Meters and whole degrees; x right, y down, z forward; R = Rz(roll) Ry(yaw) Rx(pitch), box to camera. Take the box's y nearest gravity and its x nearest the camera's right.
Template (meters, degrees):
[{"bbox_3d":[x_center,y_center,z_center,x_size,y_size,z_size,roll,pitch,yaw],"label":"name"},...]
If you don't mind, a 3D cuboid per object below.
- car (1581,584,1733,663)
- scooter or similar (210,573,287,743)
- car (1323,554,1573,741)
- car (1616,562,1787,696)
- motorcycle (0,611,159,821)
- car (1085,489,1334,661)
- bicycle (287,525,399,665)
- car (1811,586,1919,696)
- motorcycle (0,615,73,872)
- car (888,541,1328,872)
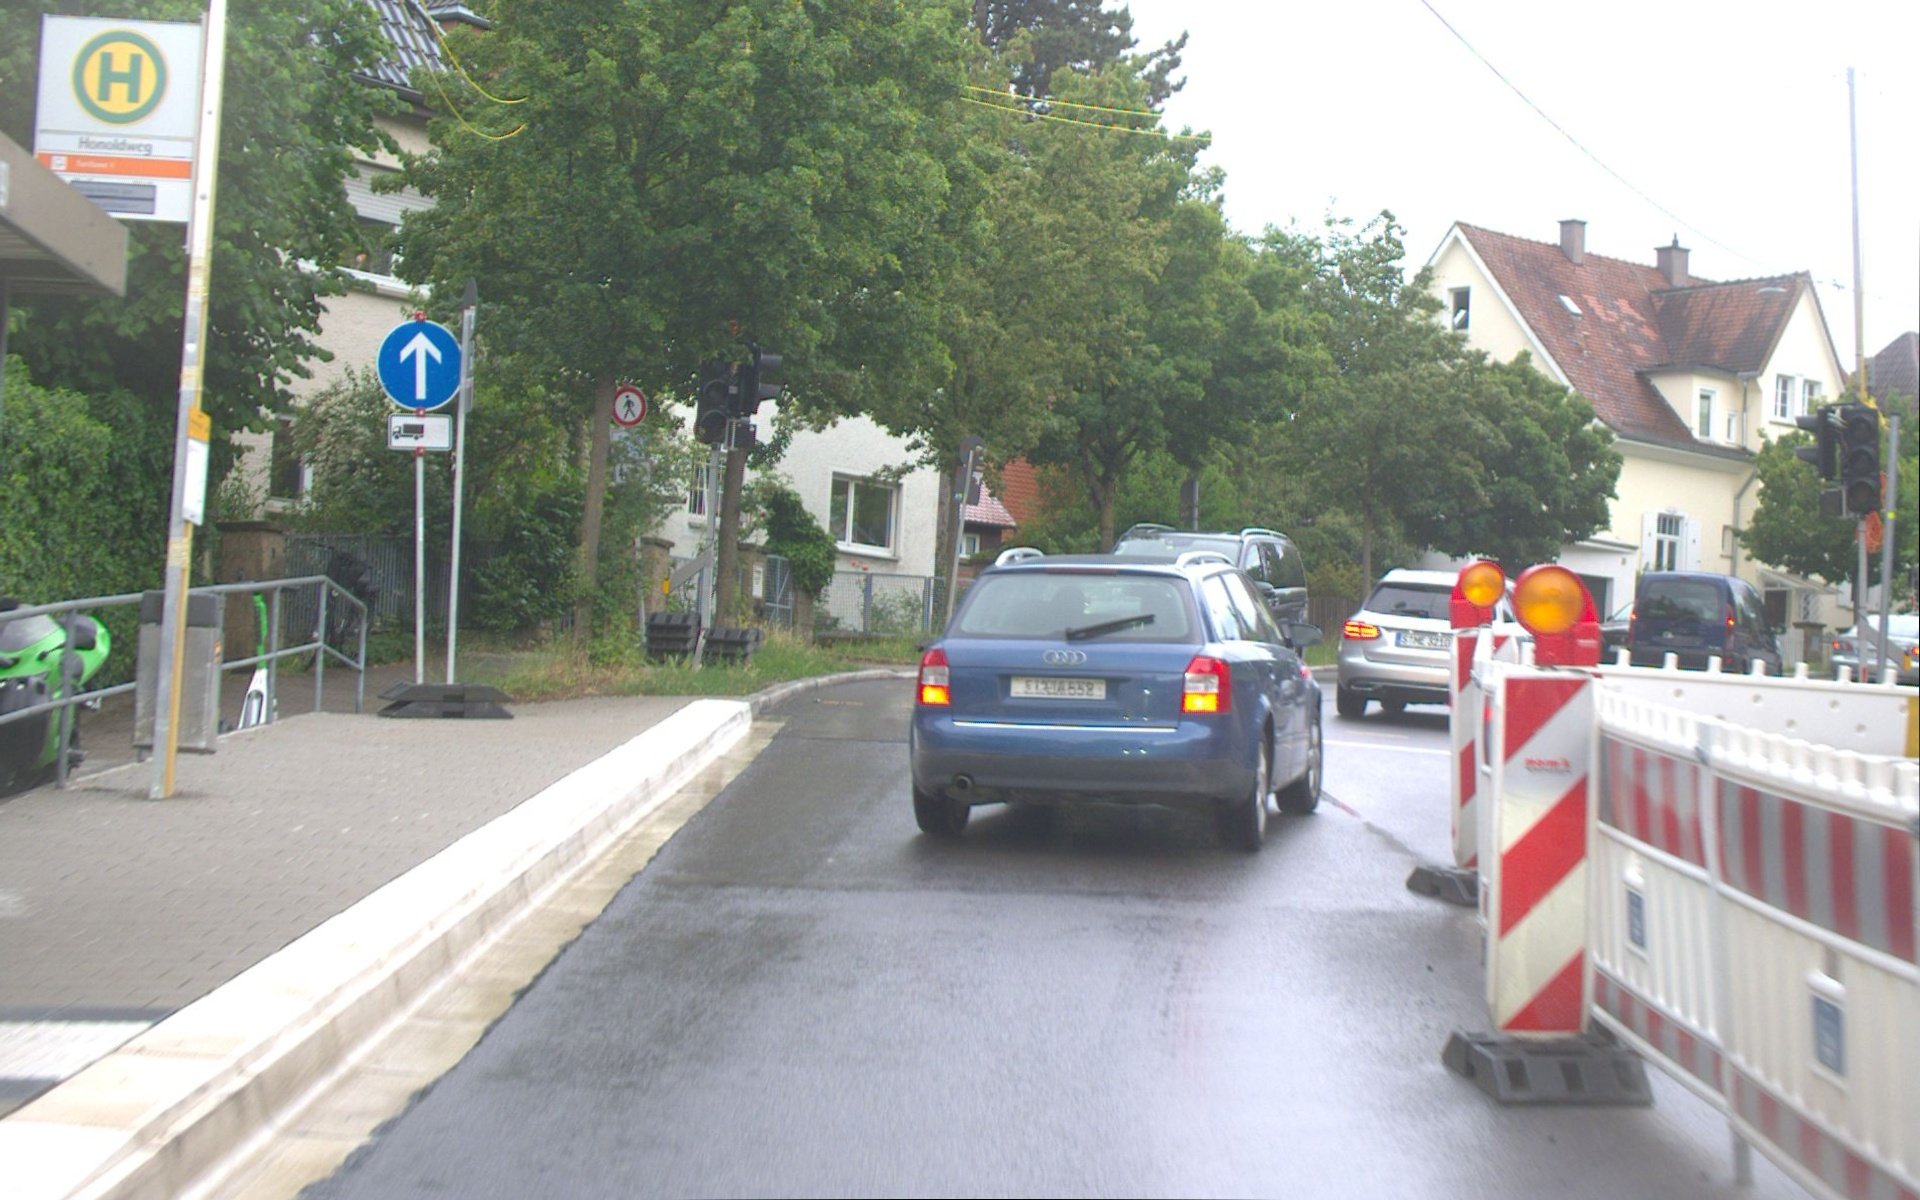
[{"bbox_3d":[13.637,0.476,67.124,1.673,1.461,3.887,1,0,31],"label":"car"},{"bbox_3d":[-4.668,0.368,22.593,0.323,1.077,1.096,1,1,-3],"label":"scooter or similar"},{"bbox_3d":[4.869,0.403,33.840,1.977,1.629,4.232,1,2,14],"label":"car"},{"bbox_3d":[10.839,0.379,50.073,1.735,1.762,4.230,1,2,22],"label":"car"},{"bbox_3d":[-4.551,0.555,17.328,0.666,0.930,2.010,1,1,-4],"label":"motorcycle"},{"bbox_3d":[3.044,-0.270,40.855,1.898,1.883,5.149,1,0,16],"label":"car"},{"bbox_3d":[-5.963,-0.075,33.321,0.490,1.267,2.273,4,2,3],"label":"bicycle"},{"bbox_3d":[16.407,0.696,59.975,1.737,1.763,4.227,3,1,32],"label":"car"},{"bbox_3d":[-4.396,0.613,14.893,0.666,1.032,2.153,1,1,-4],"label":"motorcycle"},{"bbox_3d":[0.888,0.453,17.949,1.734,1.461,3.998,0,2,11],"label":"car"}]
